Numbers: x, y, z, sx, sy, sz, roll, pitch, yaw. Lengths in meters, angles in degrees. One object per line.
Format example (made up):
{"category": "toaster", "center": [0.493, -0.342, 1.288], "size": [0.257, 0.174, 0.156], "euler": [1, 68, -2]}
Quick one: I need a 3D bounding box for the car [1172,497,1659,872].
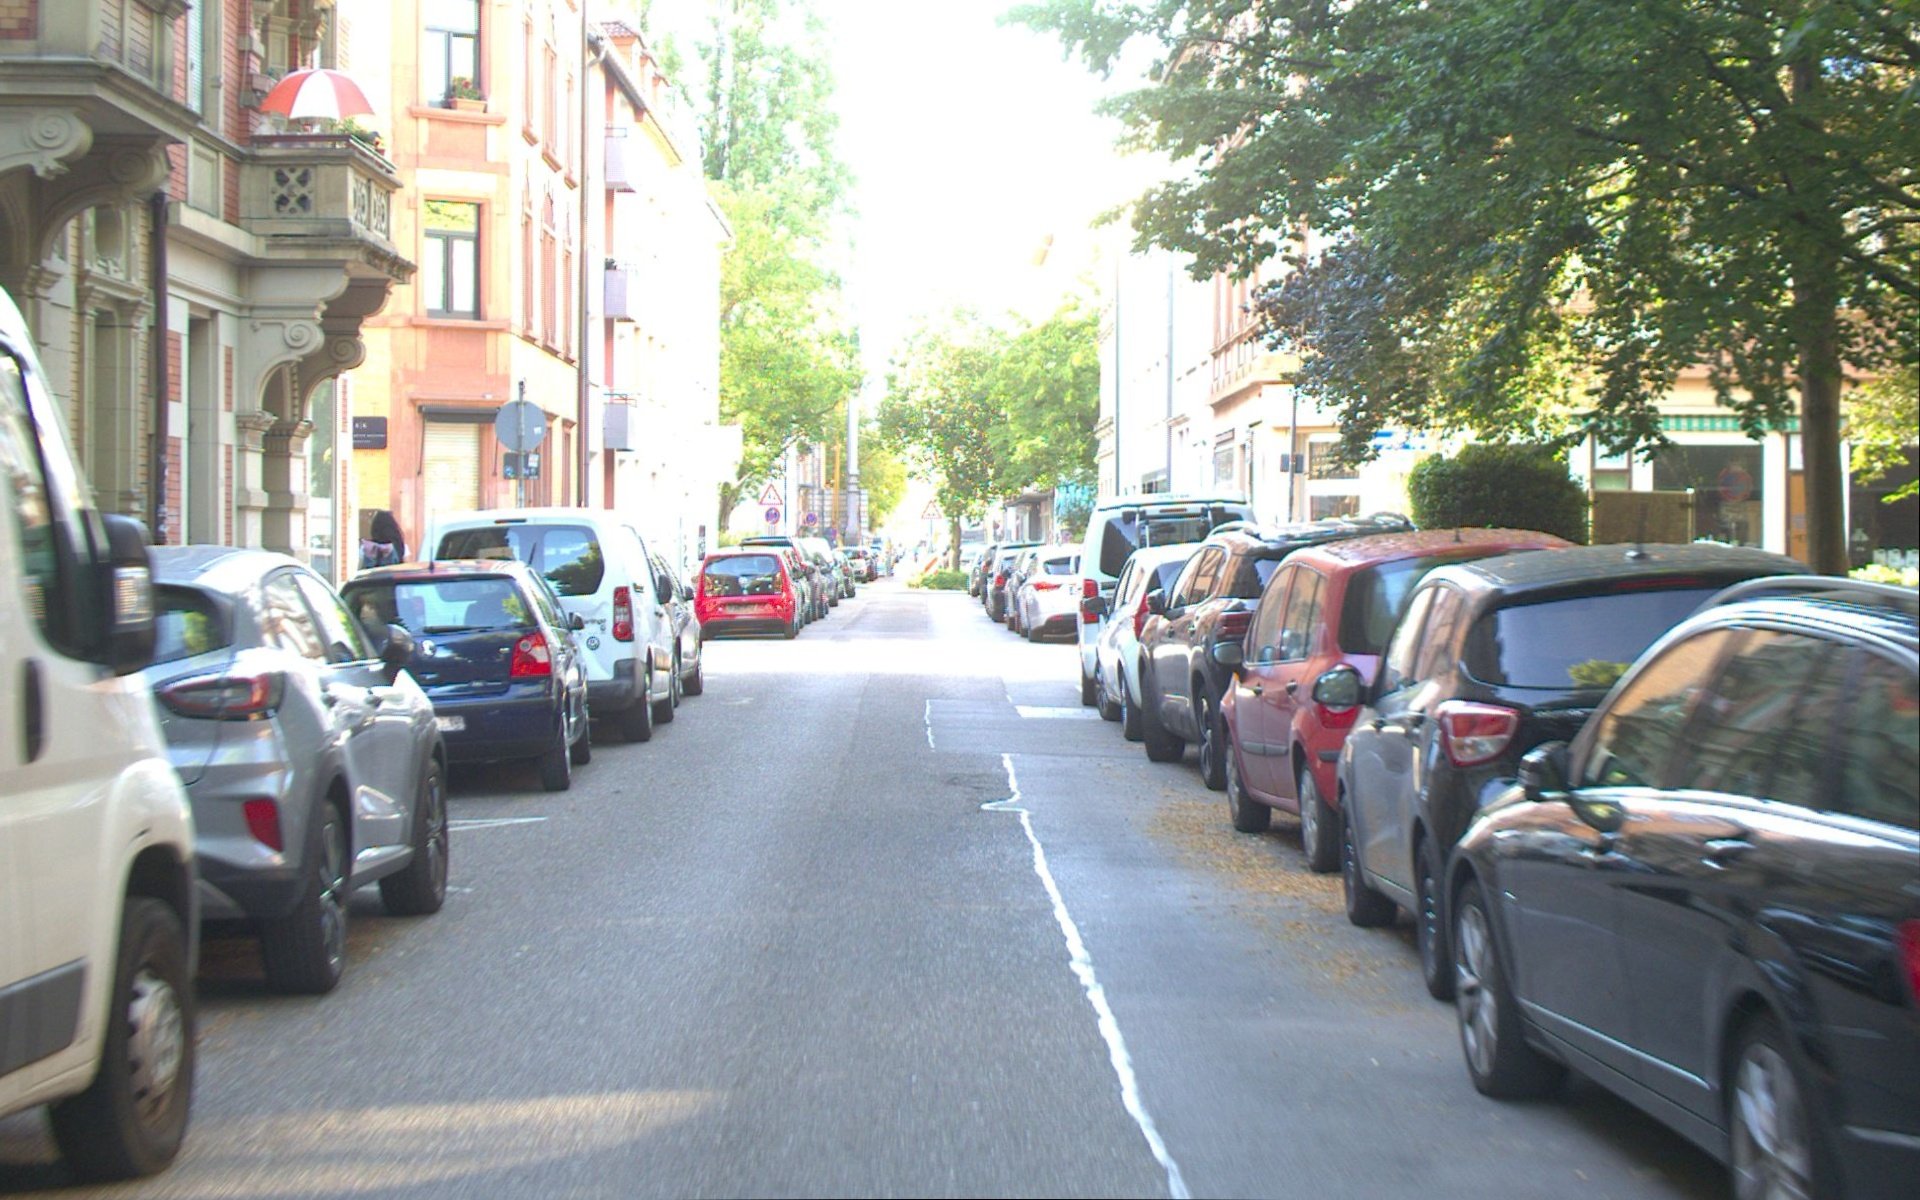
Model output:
{"category": "car", "center": [2.238, 0.383, 17.889], "size": [1.618, 1.619, 3.864], "euler": [-4, 0, -5]}

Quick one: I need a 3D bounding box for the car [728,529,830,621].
{"category": "car", "center": [-3.749, -0.556, 71.968], "size": [1.743, 1.805, 4.672], "euler": [-2, 1, 1]}

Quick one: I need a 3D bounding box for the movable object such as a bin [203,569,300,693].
{"category": "movable object such as a bin", "center": [-6.189, 0.263, 30.056], "size": [0.637, 1.038, 0.856], "euler": [2, 1, -1]}

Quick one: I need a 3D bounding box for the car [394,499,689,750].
{"category": "car", "center": [-3.273, 0.138, 27.712], "size": [1.831, 1.805, 4.572], "euler": [-2, 1, -1]}

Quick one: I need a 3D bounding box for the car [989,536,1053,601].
{"category": "car", "center": [1.642, -0.840, 93.477], "size": [1.676, 1.676, 4.094], "euler": [-2, 0, 1]}

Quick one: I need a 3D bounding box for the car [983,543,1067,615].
{"category": "car", "center": [1.425, -0.487, 76.462], "size": [1.676, 1.501, 3.938], "euler": [-2, 1, -1]}

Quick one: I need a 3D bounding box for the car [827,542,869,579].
{"category": "car", "center": [-4.715, -1.664, 145.464], "size": [1.676, 1.482, 4.095], "euler": [-2, 1, -1]}

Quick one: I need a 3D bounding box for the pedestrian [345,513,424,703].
{"category": "pedestrian", "center": [-5.040, 0.078, 30.118], "size": [0.548, 1.639, 0.717], "euler": [1, -1, -1]}

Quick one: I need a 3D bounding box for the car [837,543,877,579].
{"category": "car", "center": [-4.501, -1.729, 150.464], "size": [1.676, 1.482, 4.095], "euler": [-2, 1, -1]}

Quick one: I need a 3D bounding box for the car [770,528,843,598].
{"category": "car", "center": [-4.048, -1.000, 91.128], "size": [1.765, 1.779, 4.039], "euler": [-2, 1, -1]}

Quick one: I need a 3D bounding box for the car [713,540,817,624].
{"category": "car", "center": [-3.739, -0.371, 66.473], "size": [1.656, 1.516, 3.944], "euler": [-2, 1, 1]}

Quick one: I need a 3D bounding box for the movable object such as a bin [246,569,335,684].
{"category": "movable object such as a bin", "center": [-6.287, 0.243, 32.300], "size": [0.637, 1.038, 0.856], "euler": [2, 1, -1]}

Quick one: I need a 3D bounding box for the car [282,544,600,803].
{"category": "car", "center": [-3.350, 0.413, 22.821], "size": [1.692, 1.509, 3.974], "euler": [-2, 1, -3]}

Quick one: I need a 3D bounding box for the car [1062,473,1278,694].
{"category": "car", "center": [2.010, -0.202, 34.132], "size": [1.914, 1.991, 4.792], "euler": [-2, 1, 2]}

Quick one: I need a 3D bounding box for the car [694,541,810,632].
{"category": "car", "center": [-3.696, -0.277, 61.651], "size": [1.695, 1.516, 4.096], "euler": [-2, 1, 1]}

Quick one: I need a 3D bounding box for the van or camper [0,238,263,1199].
{"category": "van or camper", "center": [-3.037, 0.365, 6.684], "size": [2.177, 2.140, 5.154], "euler": [-2, 1, 1]}

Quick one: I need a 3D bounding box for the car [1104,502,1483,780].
{"category": "car", "center": [2.165, 0.246, 23.494], "size": [1.739, 1.597, 4.265], "euler": [-4, 0, -5]}

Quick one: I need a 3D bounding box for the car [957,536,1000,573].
{"category": "car", "center": [0.776, -1.954, 146.528], "size": [1.676, 1.482, 3.638], "euler": [-2, 1, -1]}

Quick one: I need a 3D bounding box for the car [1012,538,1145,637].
{"category": "car", "center": [1.898, -0.237, 56.264], "size": [1.743, 1.501, 4.358], "euler": [-2, 1, -3]}

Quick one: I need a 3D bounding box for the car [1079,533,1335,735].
{"category": "car", "center": [1.988, 0.235, 28.688], "size": [1.719, 1.565, 3.829], "euler": [0, 1, -2]}

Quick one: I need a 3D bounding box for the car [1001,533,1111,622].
{"category": "car", "center": [1.703, -0.428, 62.111], "size": [1.744, 1.501, 4.021], "euler": [-2, 1, -1]}

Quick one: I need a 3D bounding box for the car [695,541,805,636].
{"category": "car", "center": [-3.450, -0.216, 56.856], "size": [1.628, 1.476, 3.601], "euler": [-2, 1, -1]}

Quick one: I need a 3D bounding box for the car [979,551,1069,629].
{"category": "car", "center": [1.304, -0.236, 71.570], "size": [1.676, 1.501, 3.938], "euler": [-2, 1, -1]}

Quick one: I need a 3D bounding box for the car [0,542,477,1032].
{"category": "car", "center": [-2.975, 0.568, 12.972], "size": [1.766, 1.509, 4.194], "euler": [-2, 1, -1]}

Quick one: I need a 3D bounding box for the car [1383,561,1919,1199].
{"category": "car", "center": [2.283, 0.673, 8.161], "size": [1.675, 1.436, 4.696], "euler": [-4, 0, -3]}

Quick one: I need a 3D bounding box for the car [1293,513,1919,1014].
{"category": "car", "center": [2.313, 0.508, 12.884], "size": [1.619, 1.481, 3.776], "euler": [-4, 0, -1]}

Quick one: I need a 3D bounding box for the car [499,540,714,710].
{"category": "car", "center": [-3.336, 0.191, 33.089], "size": [1.692, 1.476, 3.973], "euler": [-2, 1, -1]}
